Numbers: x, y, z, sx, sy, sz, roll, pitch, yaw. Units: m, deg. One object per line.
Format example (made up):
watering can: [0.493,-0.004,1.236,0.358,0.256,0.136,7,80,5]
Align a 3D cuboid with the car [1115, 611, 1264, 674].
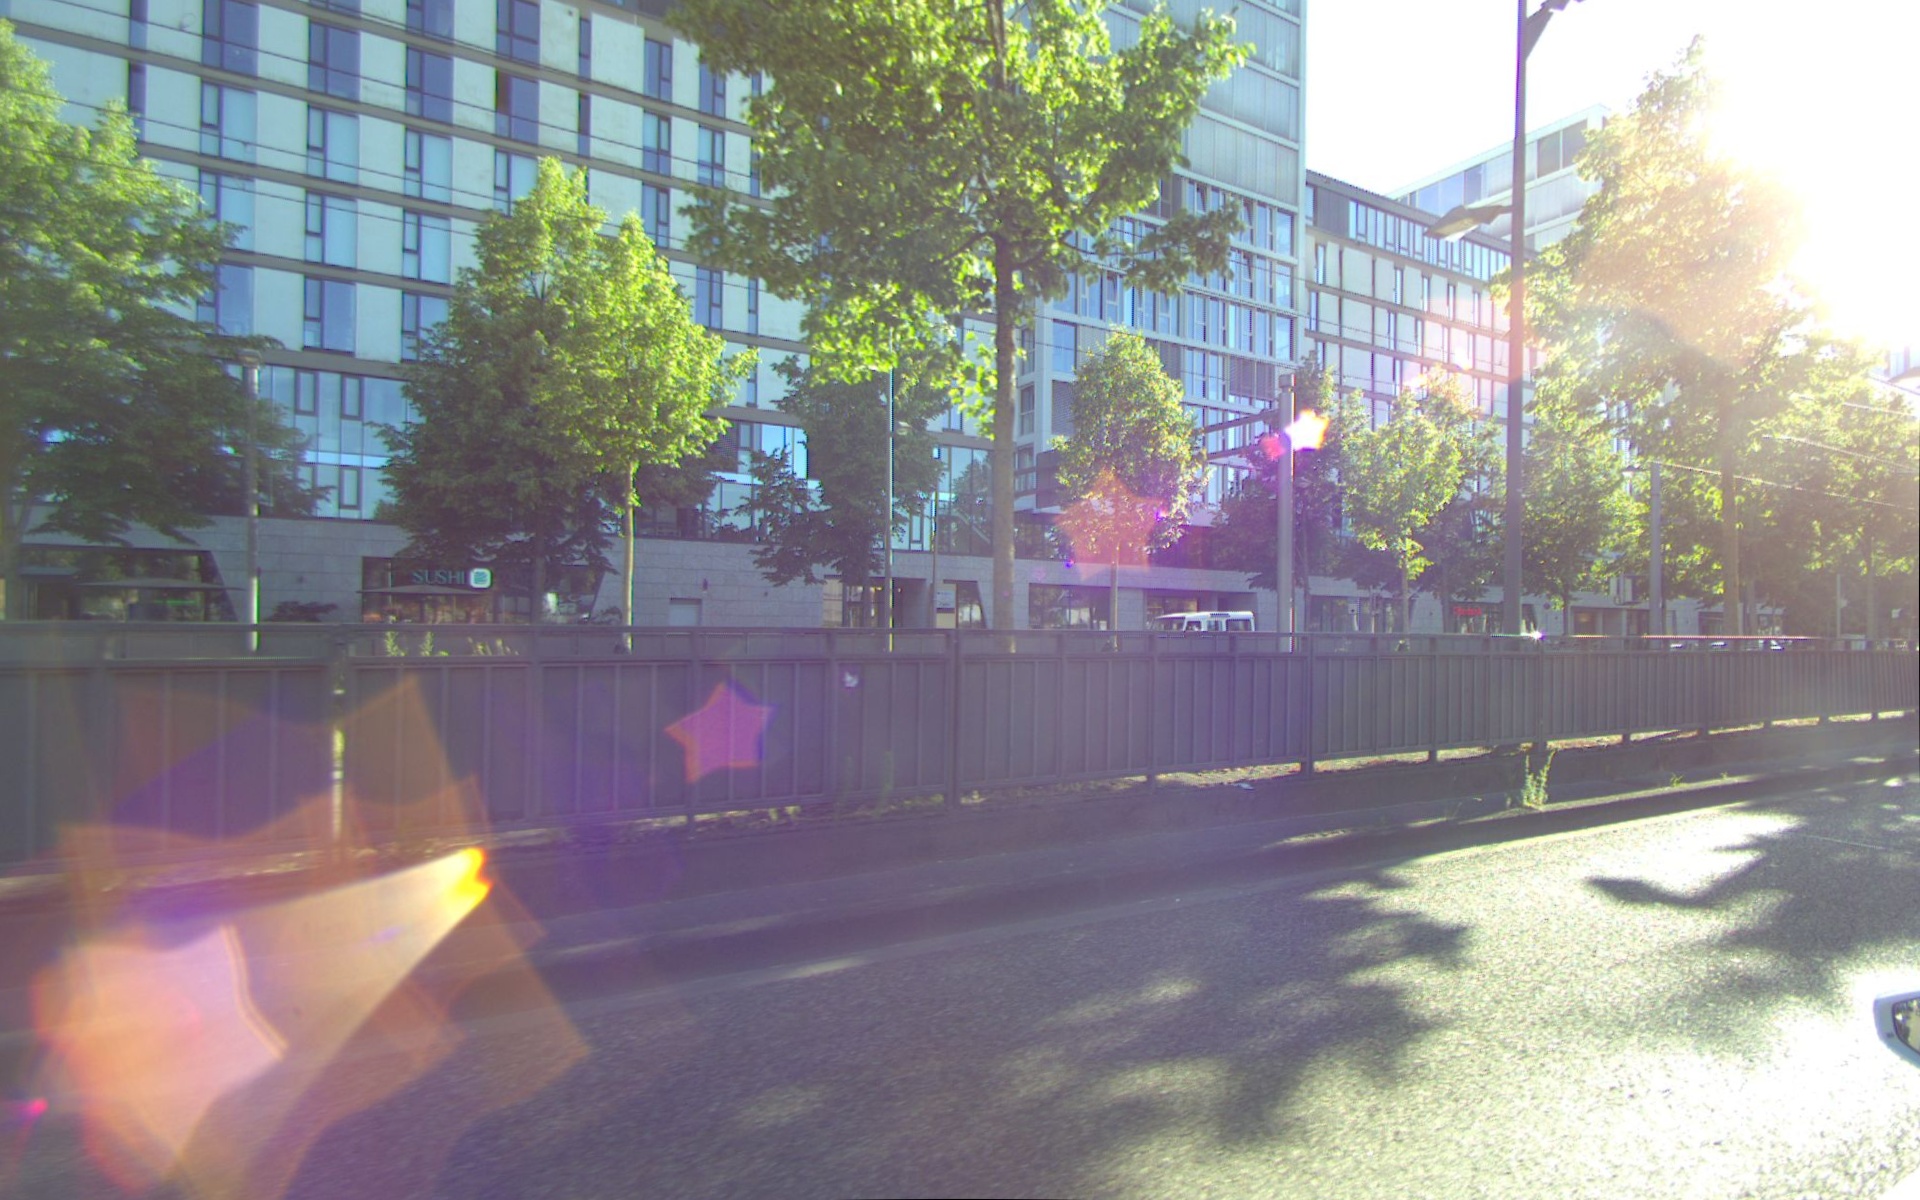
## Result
car: [6.934,1.265,30.271,4.179,1.773,1.984,2,-2,-31]

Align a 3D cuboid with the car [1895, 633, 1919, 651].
car: [79.235,3.506,82.963,4.491,1.439,1.707,1,-1,-30]

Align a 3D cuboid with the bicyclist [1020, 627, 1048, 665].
bicyclist: [2.948,1.818,40.026,0.821,1.483,0.717,1,-1,-28]

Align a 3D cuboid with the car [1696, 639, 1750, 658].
car: [50.381,3.203,66.321,3.543,1.223,1.659,2,-2,-32]

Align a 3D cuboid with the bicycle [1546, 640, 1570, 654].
bicycle: [40.572,3.179,68.149,1.992,0.892,0.538,2,-1,-31]

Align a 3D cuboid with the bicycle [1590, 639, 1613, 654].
bicycle: [45.544,3.312,71.308,1.960,0.985,0.538,3,-2,-31]

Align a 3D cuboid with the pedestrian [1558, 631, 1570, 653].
pedestrian: [40.681,2.834,67.652,0.682,1.431,0.405,3,-2,-30]

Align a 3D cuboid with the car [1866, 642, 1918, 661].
car: [74.258,4.075,80.050,4.489,1.438,1.708,1,-3,-29]
